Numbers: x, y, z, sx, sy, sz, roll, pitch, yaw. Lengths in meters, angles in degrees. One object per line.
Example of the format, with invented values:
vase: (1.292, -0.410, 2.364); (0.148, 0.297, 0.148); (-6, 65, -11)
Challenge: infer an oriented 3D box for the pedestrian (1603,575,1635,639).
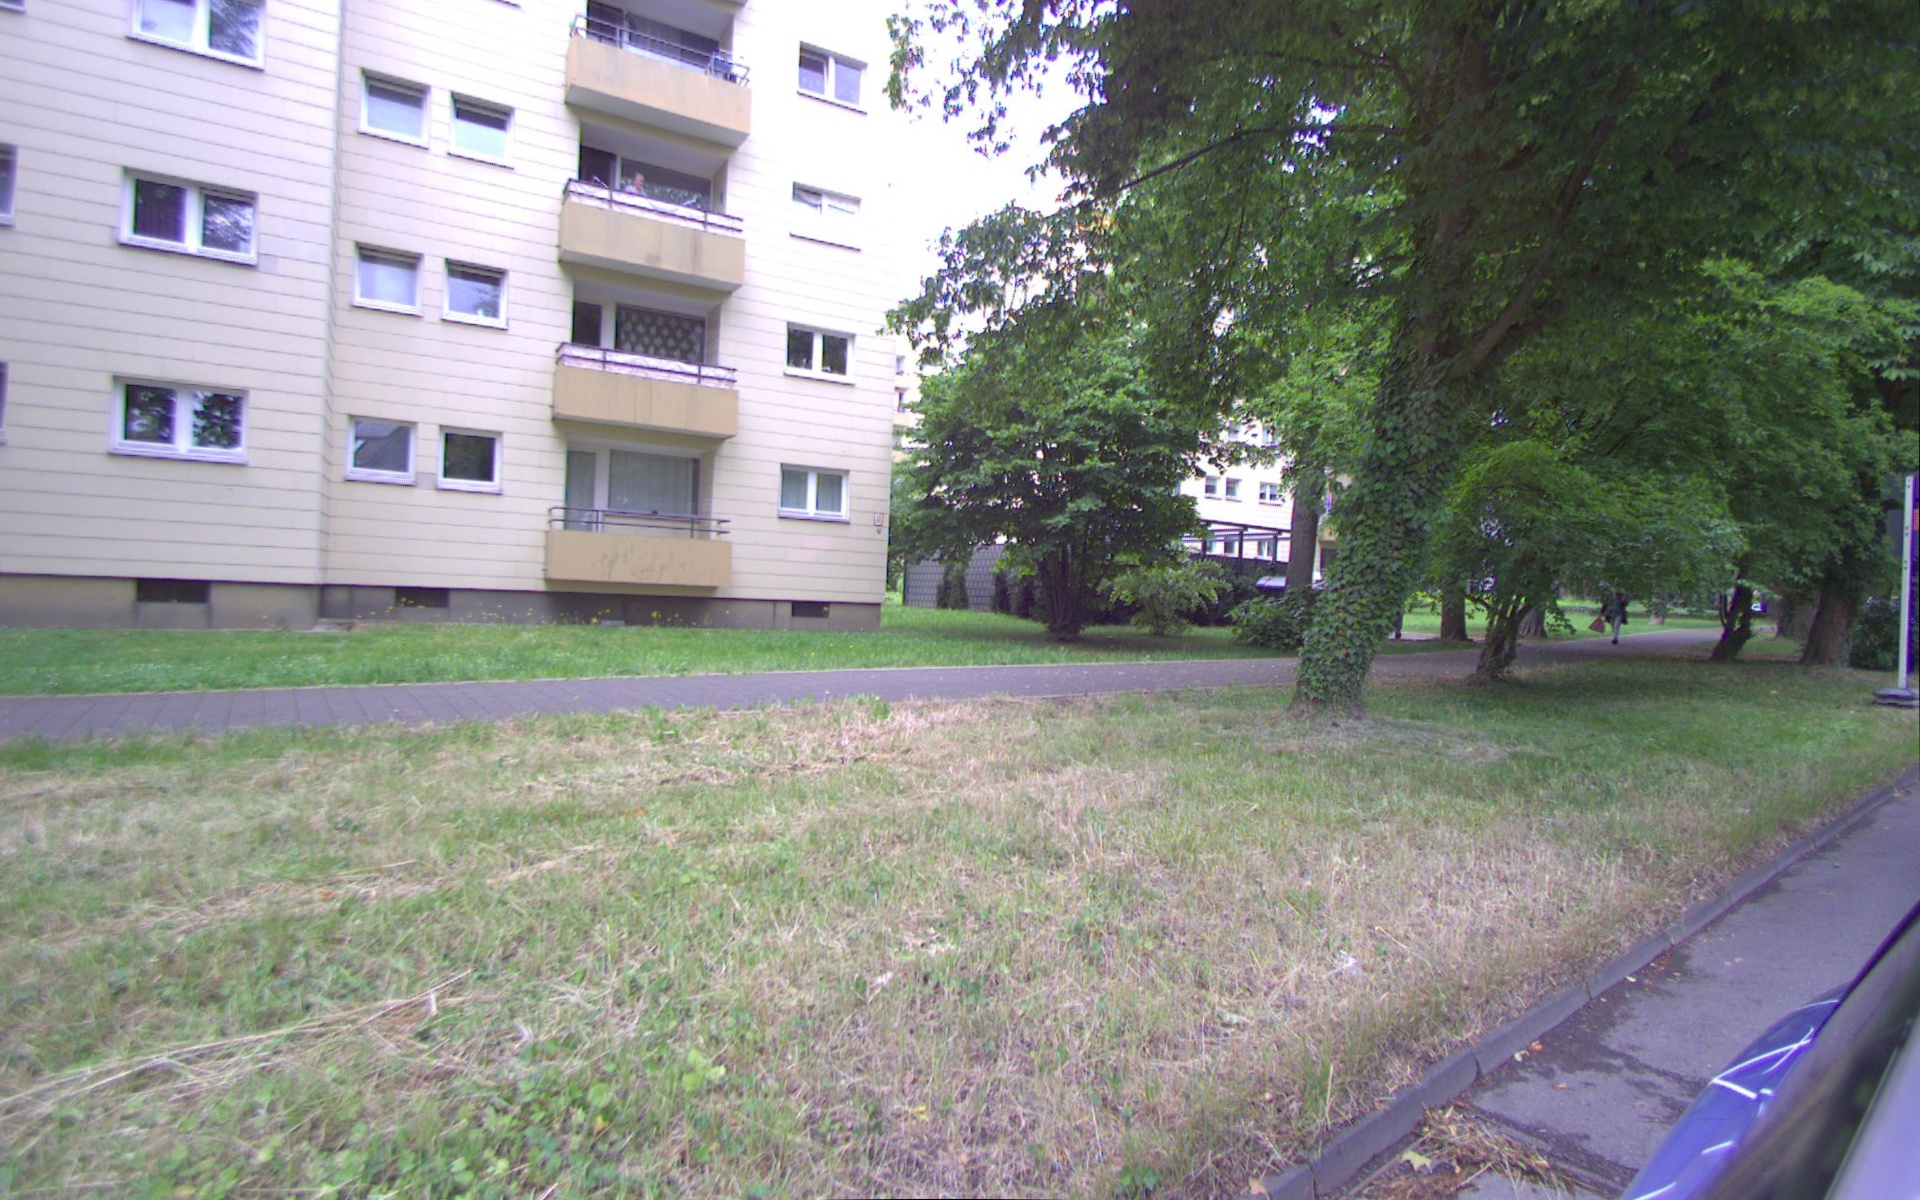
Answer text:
pedestrian: (18.740, 0.190, 28.782); (0.560, 1.761, 0.565); (1, 2, -41)

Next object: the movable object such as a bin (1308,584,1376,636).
movable object such as a bin: (9.666, 0.235, 25.577); (1.190, 1.236, 1.328); (3, 2, 41)

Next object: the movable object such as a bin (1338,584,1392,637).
movable object such as a bin: (10.554, 0.256, 26.351); (1.022, 1.320, 0.946); (3, 2, 41)

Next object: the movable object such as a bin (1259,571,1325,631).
movable object such as a bin: (8.677, 0.019, 26.449); (1.190, 1.475, 1.328); (3, 2, 41)

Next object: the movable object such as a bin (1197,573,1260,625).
movable object such as a bin: (7.414, -0.040, 27.921); (1.190, 1.358, 1.328); (3, 2, 41)

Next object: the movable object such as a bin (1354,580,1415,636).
movable object such as a bin: (11.355, 0.197, 27.069); (1.190, 1.431, 1.094); (3, 2, 41)
